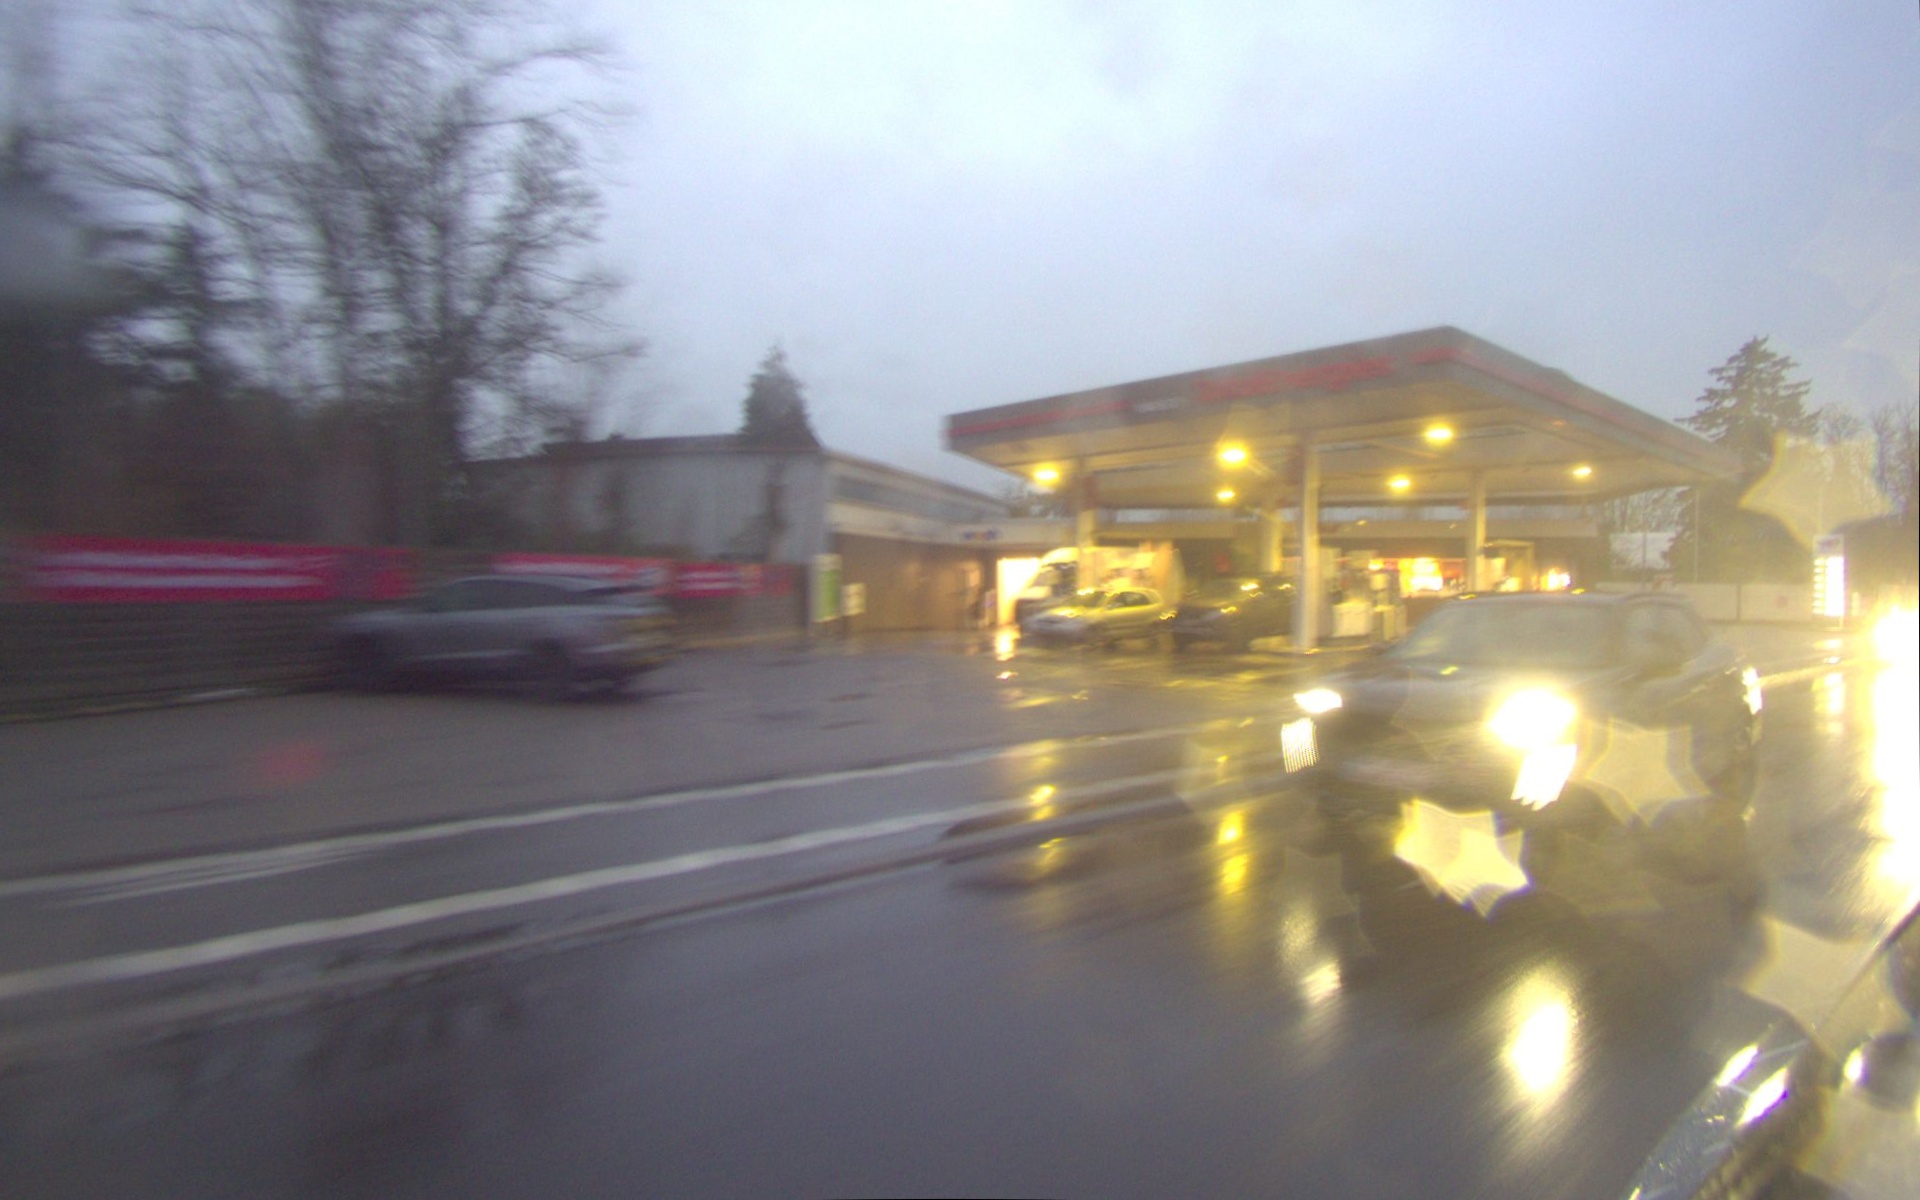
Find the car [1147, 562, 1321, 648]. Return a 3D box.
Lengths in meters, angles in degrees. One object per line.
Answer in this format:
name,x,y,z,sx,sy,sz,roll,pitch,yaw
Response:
car,6.657,0.058,24.415,4.223,1.882,1.998,-1,2,-41

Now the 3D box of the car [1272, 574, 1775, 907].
car,3.831,0.632,6.587,3.935,1.548,1.568,-1,1,-40

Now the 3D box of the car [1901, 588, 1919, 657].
car,22.820,0.485,22.945,3.935,1.511,2.011,0,0,-45

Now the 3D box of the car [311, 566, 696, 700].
car,-6.091,0.381,13.795,4.406,1.628,2.016,0,1,7

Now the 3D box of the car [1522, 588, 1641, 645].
car,17.020,0.401,27.665,4.095,1.414,1.576,0,2,-41

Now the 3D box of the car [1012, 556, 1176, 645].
car,3.398,-0.022,25.356,3.930,2.039,1.997,0,1,-41
